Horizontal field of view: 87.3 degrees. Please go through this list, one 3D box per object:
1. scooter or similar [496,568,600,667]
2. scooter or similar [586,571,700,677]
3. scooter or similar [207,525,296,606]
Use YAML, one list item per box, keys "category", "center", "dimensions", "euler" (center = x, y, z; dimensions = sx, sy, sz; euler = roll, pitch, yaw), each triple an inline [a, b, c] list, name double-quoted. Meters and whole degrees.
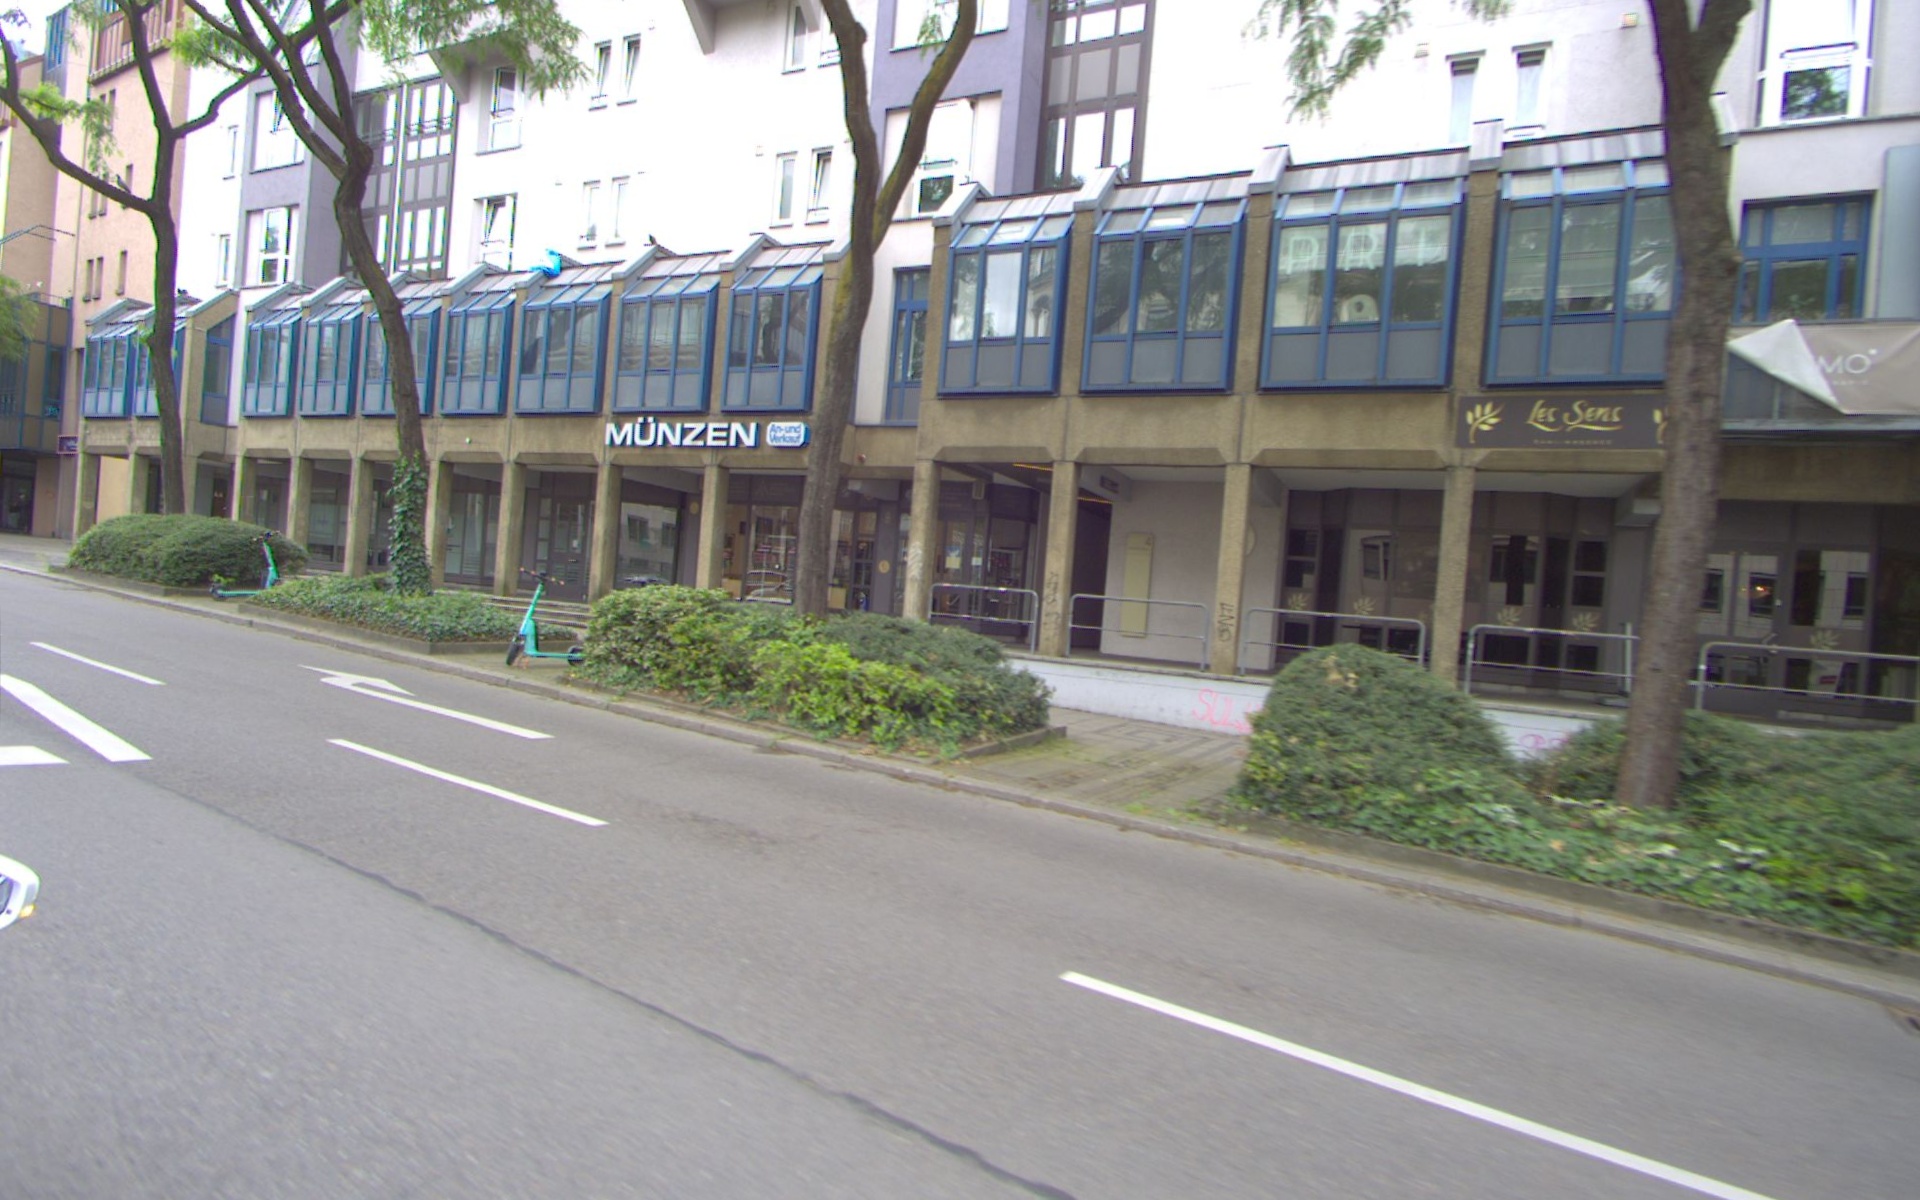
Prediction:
- category: "scooter or similar"
  center: [-5.311, 0.240, 12.991]
  dimensions: [0.421, 1.197, 1.104]
  euler: [8, 3, 41]
- category: "scooter or similar"
  center: [-4.201, 0.314, 13.400]
  dimensions: [0.712, 1.286, 1.196]
  euler: [7, 3, 31]
- category: "scooter or similar"
  center: [-12.220, -0.580, 17.374]
  dimensions: [0.419, 1.302, 1.159]
  euler: [7, 4, 40]
